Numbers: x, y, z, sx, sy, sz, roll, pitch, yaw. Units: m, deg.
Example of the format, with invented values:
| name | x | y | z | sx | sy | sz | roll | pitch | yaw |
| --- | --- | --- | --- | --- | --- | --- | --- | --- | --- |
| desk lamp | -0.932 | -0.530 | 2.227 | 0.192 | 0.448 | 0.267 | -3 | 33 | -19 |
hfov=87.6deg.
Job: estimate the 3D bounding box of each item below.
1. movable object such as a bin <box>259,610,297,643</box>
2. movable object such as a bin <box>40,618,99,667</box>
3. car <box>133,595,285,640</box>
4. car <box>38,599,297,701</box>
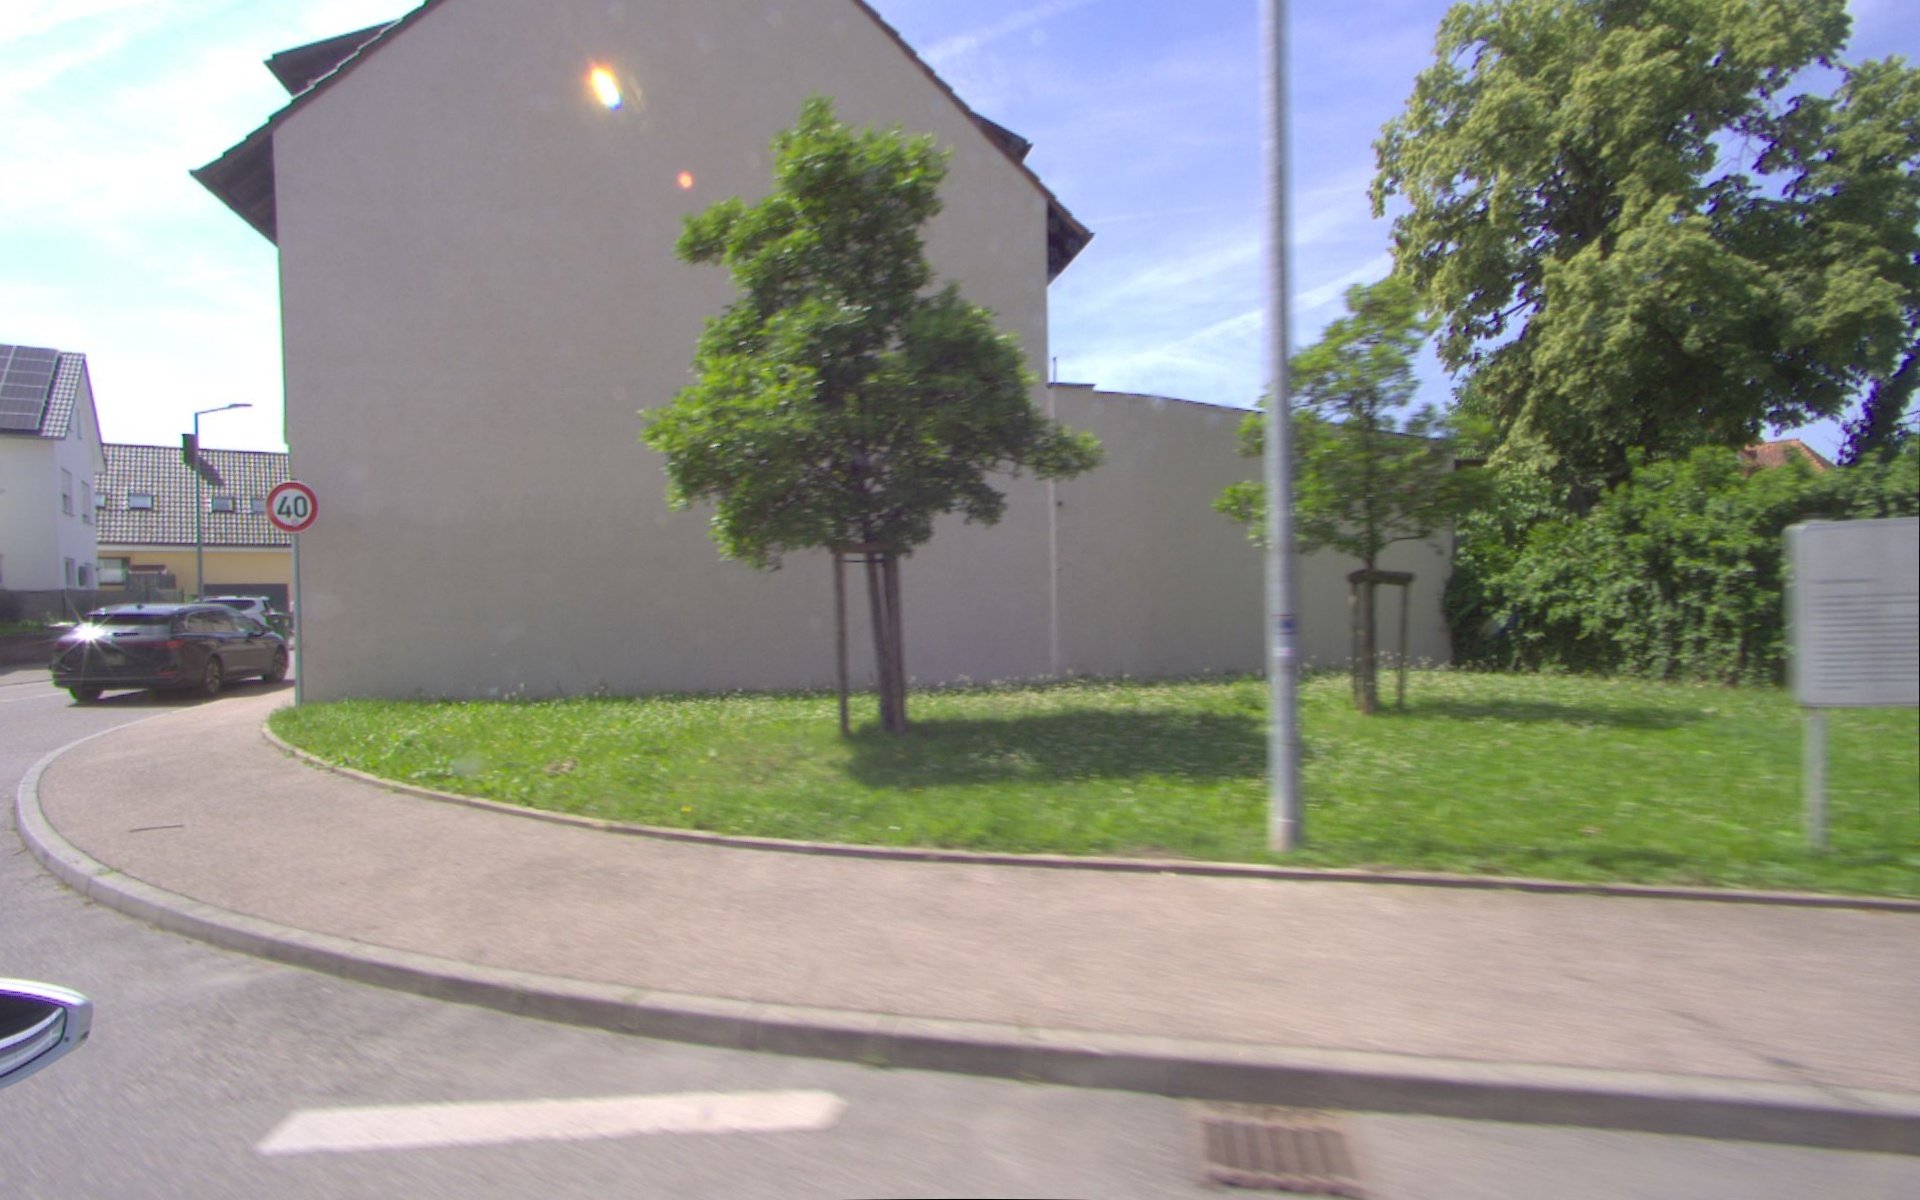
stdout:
| name | x | y | z | sx | sy | sz | roll | pitch | yaw |
| --- | --- | --- | --- | --- | --- | --- | --- | --- | --- |
| movable object such as a bin | -22.878 | 0.880 | 33.597 | 0.813 | 1.091 | 0.816 | 0 | 1 | -14 |
| movable object such as a bin | -20.440 | 0.965 | 22.991 | 0.780 | 1.071 | 0.649 | -1 | 1 | -19 |
| car | -28.630 | 0.647 | 38.347 | 4.349 | 1.644 | 1.991 | 0 | 0 | -28 |
| car | -12.907 | 0.705 | 16.715 | 1.815 | 1.439 | 4.672 | 0 | 0 | -17 |
